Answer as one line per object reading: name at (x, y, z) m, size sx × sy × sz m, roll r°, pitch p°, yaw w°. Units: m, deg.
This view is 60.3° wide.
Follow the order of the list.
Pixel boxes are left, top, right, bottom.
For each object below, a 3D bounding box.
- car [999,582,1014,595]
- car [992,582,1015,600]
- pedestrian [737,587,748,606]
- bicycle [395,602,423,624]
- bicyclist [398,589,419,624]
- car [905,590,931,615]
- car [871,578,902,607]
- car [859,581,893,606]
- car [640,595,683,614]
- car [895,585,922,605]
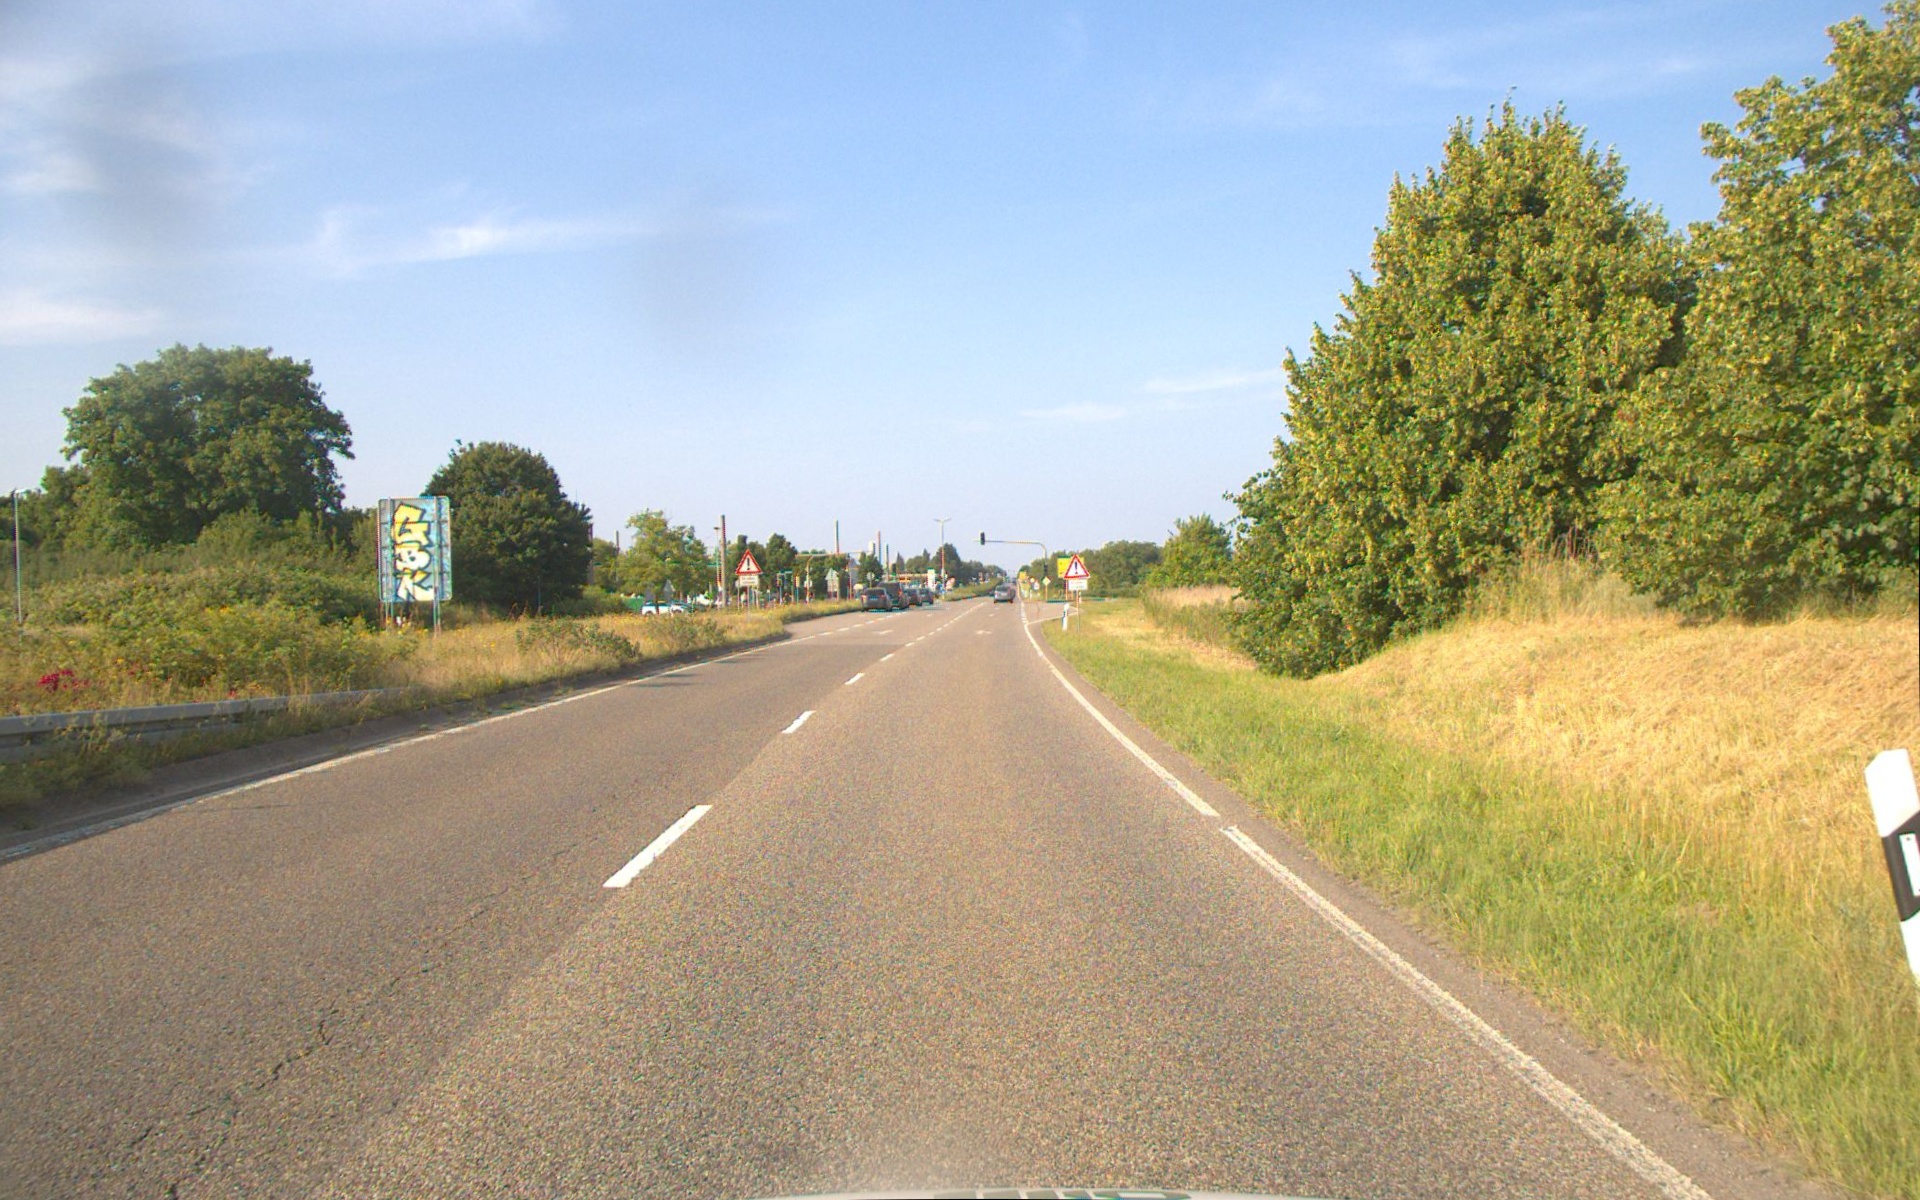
car at (6.430, -1.614, 229.294) m, size 1.952 × 1.624 × 4.001 m, roll -2°, pitch 1°, yaw 1°
car at (3.992, -0.818, 151.812) m, size 1.952 × 1.579 × 4.002 m, roll -1°, pitch 1°, yaw 3°
pedestrian at (-19.612, -0.324, 149.222) m, size 0.897 × 1.736 × 1.066 m, roll 1°, pitch -1°, yaw -4°
bicycle at (-22.987, 0.533, 69.043) m, size 0.519 × 0.893 × 1.705 m, roll -1°, pitch 1°, yaw 2°
bicyclist at (-22.988, 0.263, 68.952) m, size 0.457 × 1.414 × 1.048 m, roll -1°, pitch 0°, yaw 2°
car at (-3.722, 0.266, 147.584) m, size 1.952 × 2.049 × 4.837 m, roll -1°, pitch -1°, yaw 2°
car at (-4.914, -0.517, 111.023) m, size 1.696 × 1.888 × 4.522 m, roll -1°, pitch 1°, yaw 3°
car at (-5.278, -0.416, 104.141) m, size 1.696 × 1.481 × 4.522 m, roll -1°, pitch 1°, yaw 3°
car at (-27.920, 0.423, 154.480) m, size 3.916 × 1.691 × 1.882 m, roll 1°, pitch -1°, yaw -11°
car at (-4.017, -0.380, 129.455) m, size 1.733 × 1.497 × 4.017 m, roll -1°, pitch 1°, yaw 3°
